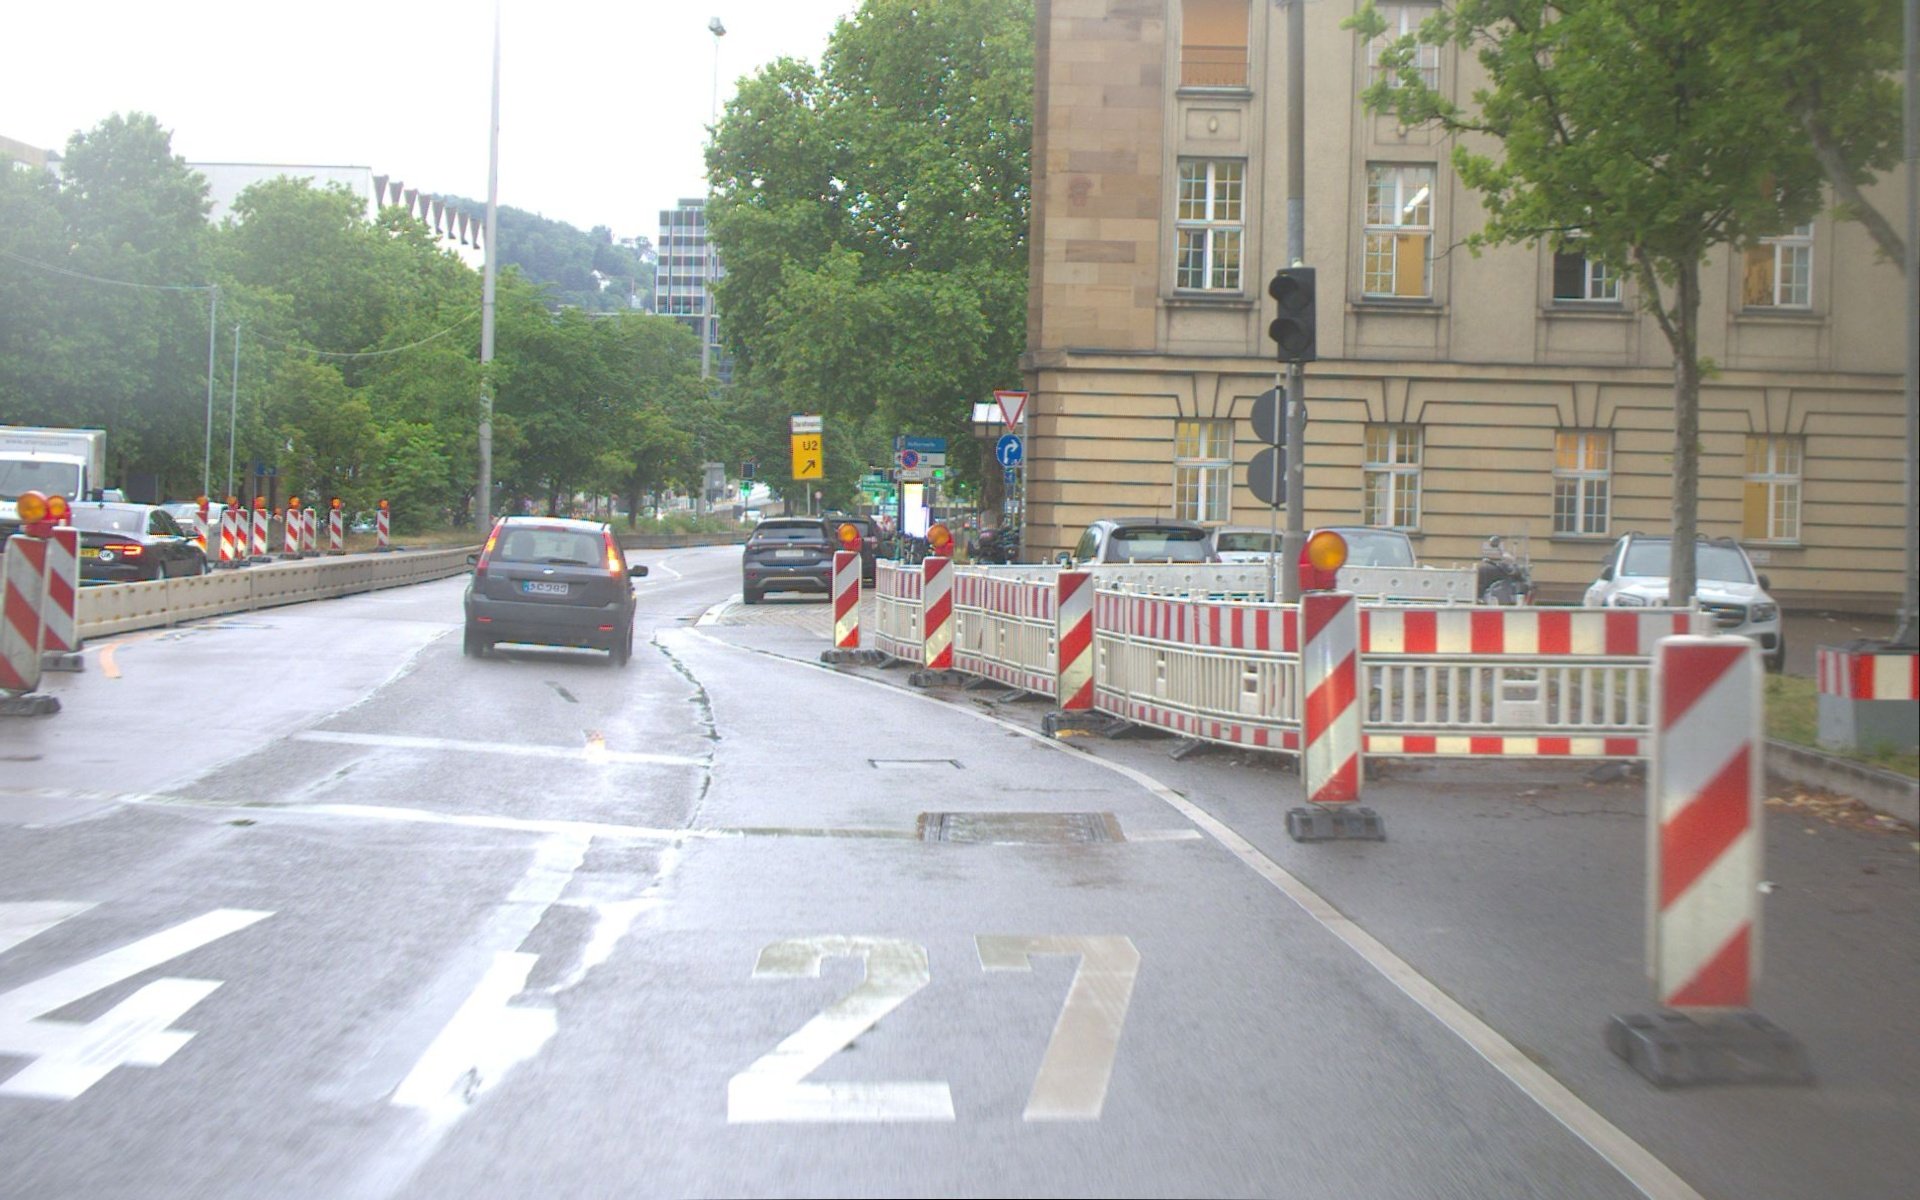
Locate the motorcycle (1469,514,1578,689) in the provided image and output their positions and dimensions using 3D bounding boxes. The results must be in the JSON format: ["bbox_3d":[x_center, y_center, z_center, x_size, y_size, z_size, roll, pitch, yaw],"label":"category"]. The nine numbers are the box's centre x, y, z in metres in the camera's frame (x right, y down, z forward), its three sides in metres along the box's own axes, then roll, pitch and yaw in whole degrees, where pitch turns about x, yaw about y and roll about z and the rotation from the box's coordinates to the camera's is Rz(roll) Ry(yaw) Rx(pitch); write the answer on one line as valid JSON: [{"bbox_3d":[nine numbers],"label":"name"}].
[{"bbox_3d":[6.181,-0.014,37.857,0.831,1.823,3.143,2,1,4],"label":"motorcycle"}]

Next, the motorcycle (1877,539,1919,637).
[{"bbox_3d":[16.543,-0.101,55.493,3.162,1.538,0.889,4,0,4],"label":"motorcycle"}]

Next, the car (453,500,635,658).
[{"bbox_3d":[-4.228,-0.253,35.386,1.669,1.422,3.759,4,2,-5],"label":"car"}]

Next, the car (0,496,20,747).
[{"bbox_3d":[-5.885,0.121,17.782,1.385,1.381,3.068,1,1,-4],"label":"car"}]

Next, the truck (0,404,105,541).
[{"bbox_3d":[-17.577,-2.390,65.182,2.412,2.331,5.446,4,0,-13],"label":"truck"}]

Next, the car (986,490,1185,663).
[{"bbox_3d":[1.344,-0.314,38.382,1.993,1.702,4.001,3,2,0],"label":"car"}]

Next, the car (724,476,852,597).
[{"bbox_3d":[-3.061,-1.179,61.870,1.993,2.006,4.001,3,2,0],"label":"car"}]

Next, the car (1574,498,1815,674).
[{"bbox_3d":[7.974,-0.205,37.659,1.994,1.702,4.000,3,2,5],"label":"car"}]

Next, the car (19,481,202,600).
[{"bbox_3d":[-11.472,-0.839,46.670,1.840,1.405,4.001,4,2,-7],"label":"car"}]

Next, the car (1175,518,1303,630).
[{"bbox_3d":[4.742,-0.477,58.364,1.994,1.702,4.000,3,2,5],"label":"car"}]

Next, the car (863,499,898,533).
[{"bbox_3d":[-5.323,-5.609,229.839,1.993,2.007,4.001,4,0,-5],"label":"car"}]

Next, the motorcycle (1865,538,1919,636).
[{"bbox_3d":[16.621,-0.131,56.519,3.162,1.538,0.889,4,0,5],"label":"motorcycle"}]

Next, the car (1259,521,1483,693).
[{"bbox_3d":[4.626,0.027,39.240,1.993,1.702,4.001,3,2,0],"label":"car"}]
